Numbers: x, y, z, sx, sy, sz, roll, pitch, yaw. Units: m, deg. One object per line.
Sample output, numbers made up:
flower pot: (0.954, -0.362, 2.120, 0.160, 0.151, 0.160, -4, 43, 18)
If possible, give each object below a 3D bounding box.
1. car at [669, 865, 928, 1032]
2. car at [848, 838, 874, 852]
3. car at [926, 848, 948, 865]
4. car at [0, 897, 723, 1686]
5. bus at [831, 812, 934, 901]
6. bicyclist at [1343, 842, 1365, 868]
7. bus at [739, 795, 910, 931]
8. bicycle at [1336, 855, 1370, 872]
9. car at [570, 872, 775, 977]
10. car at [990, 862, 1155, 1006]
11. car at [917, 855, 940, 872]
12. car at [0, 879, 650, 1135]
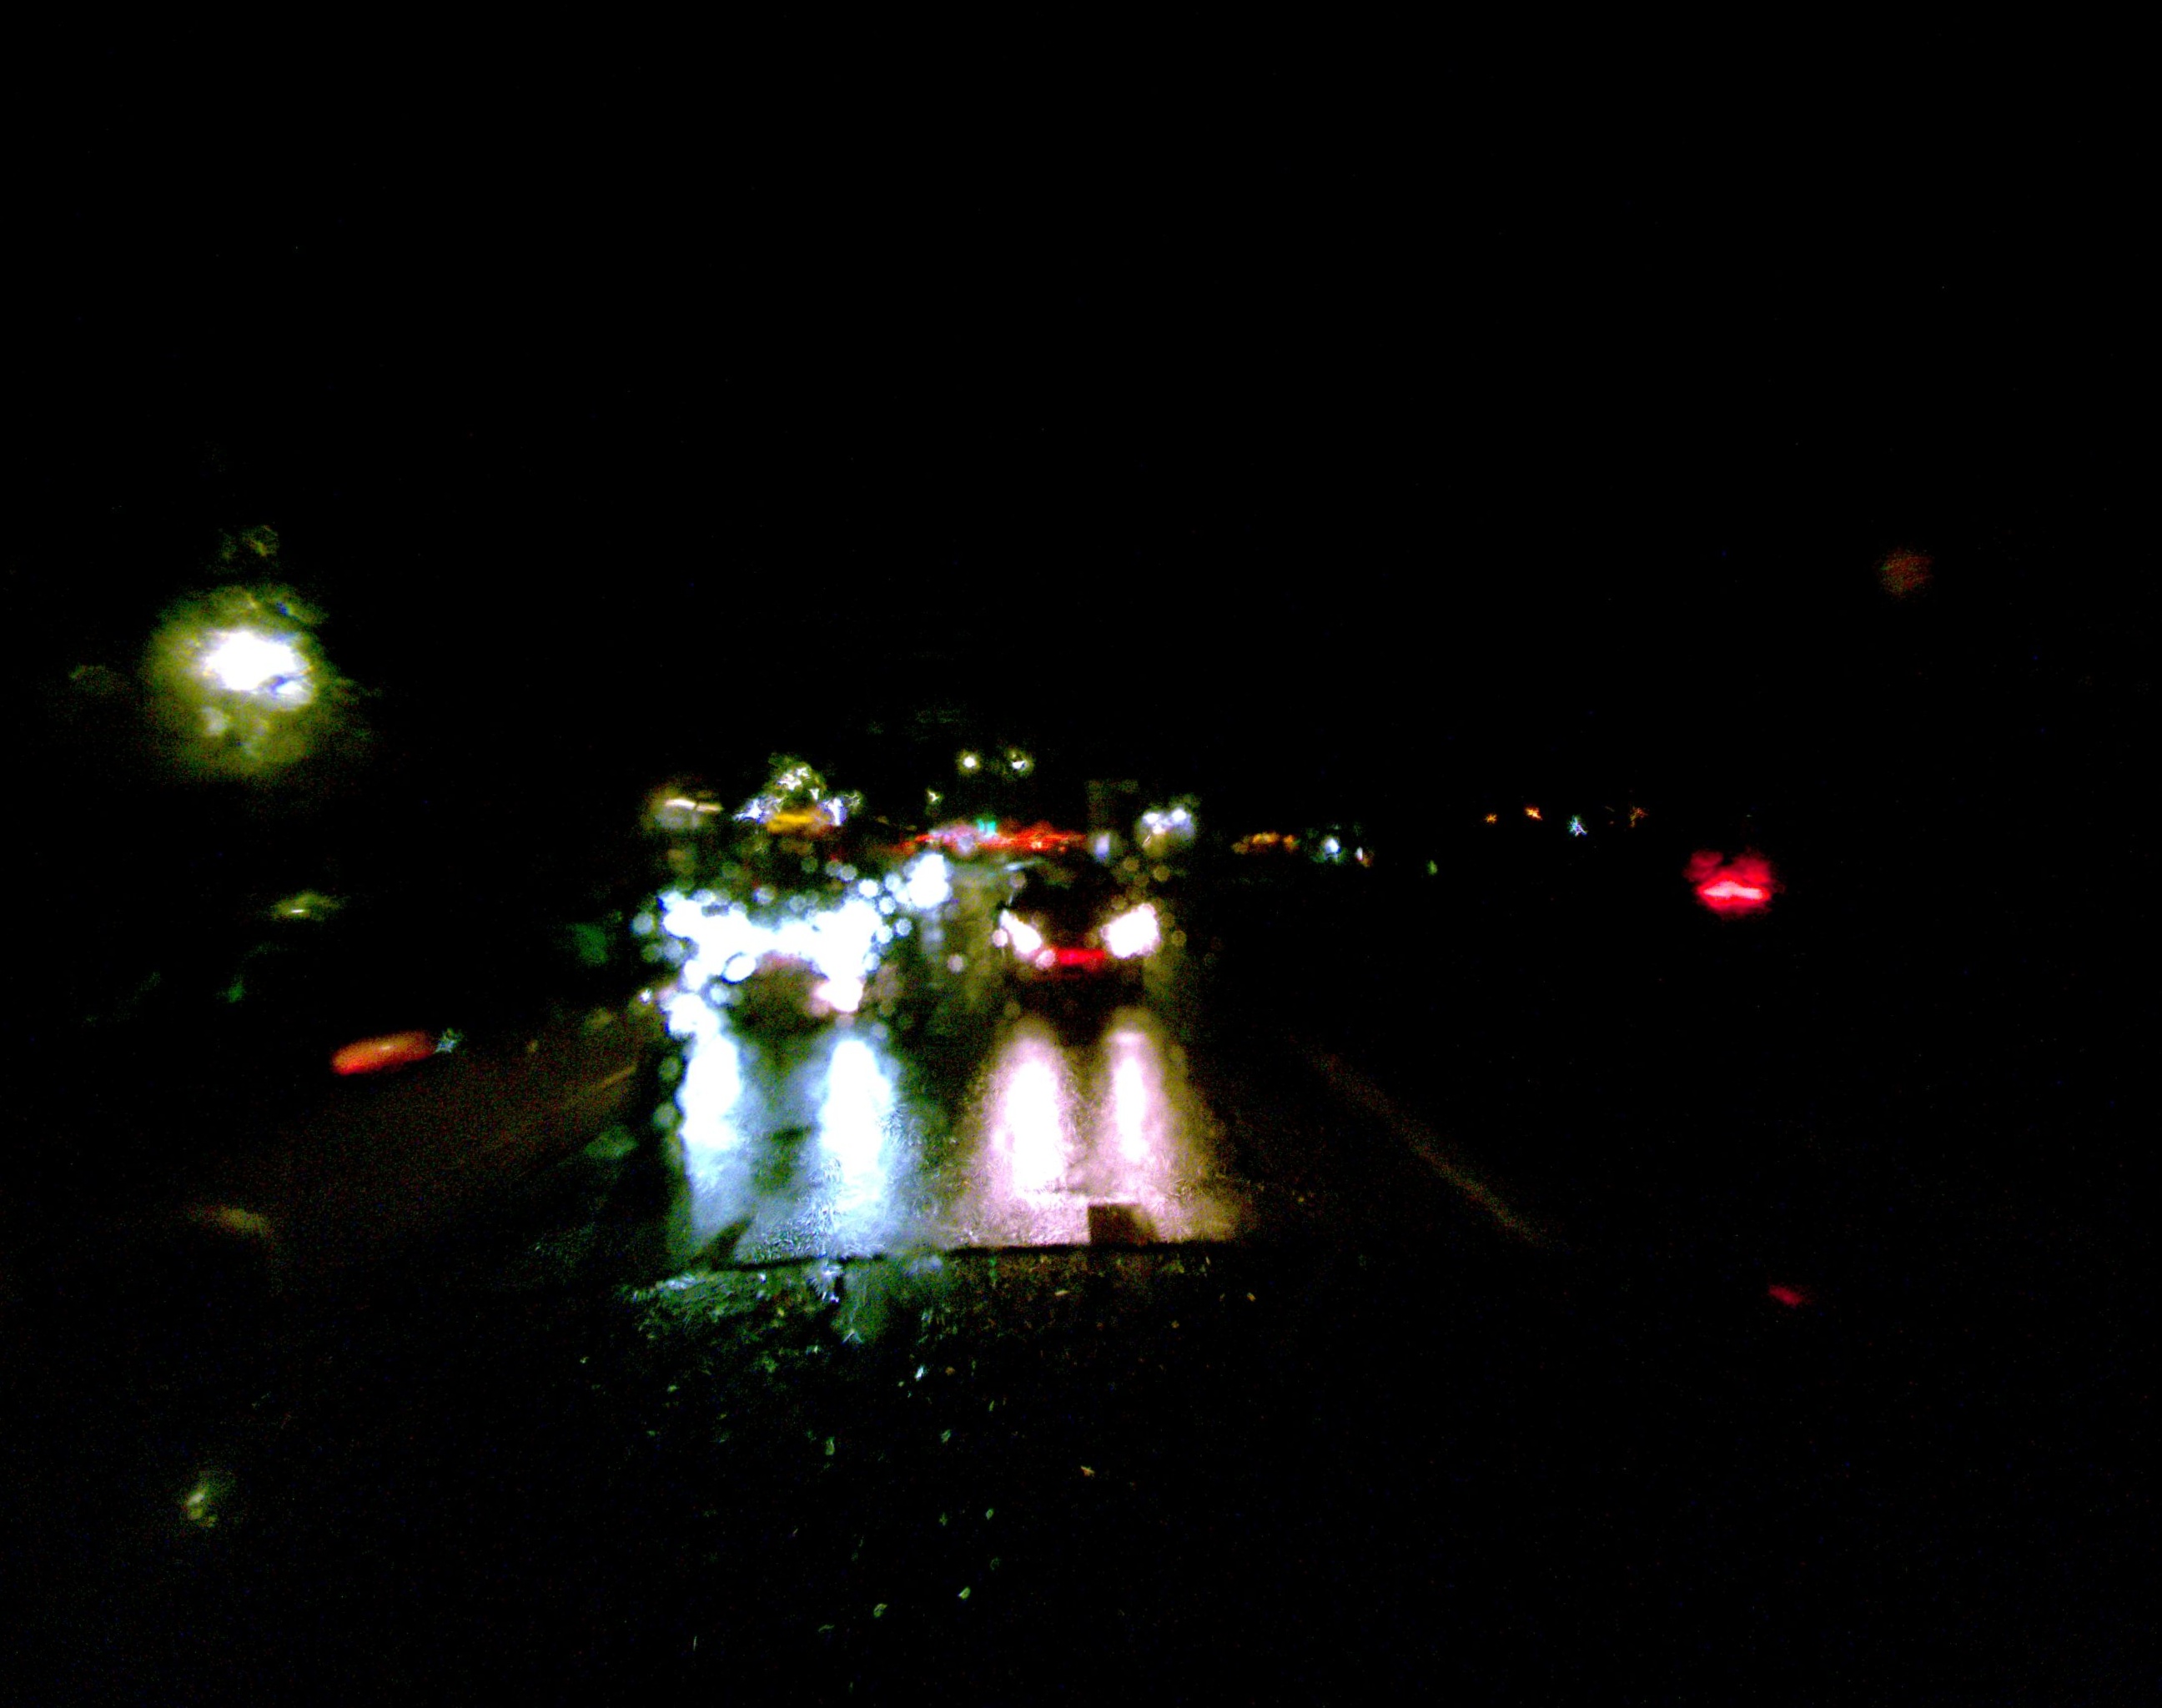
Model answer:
car: (-3.323, 1.004, 9.901, 1.724, 1.478, 4.161, -4, 1, 0)
car: (-23.744, -0.934, 81.936, 1.712, 1.382, 3.990, -2, 1, -32)
car: (-14.941, 0.258, 78.846, 1.726, 1.695, 3.967, 0, 1, -18)
car: (-3.162, 1.037, 2.780, 1.724, 1.438, 4.161, -1, 1, 0)
bus: (-8.301, 0.036, 33.039, 2.742, 3.219, 9.693, -2, 1, -6)
bicyclist: (15.353, 0.057, 42.738, 0.630, 1.427, 1.186, -1, 1, -17)
bus: (-7.338, 0.154, 23.384, 2.742, 3.258, 9.693, -2, 1, -6)
bicycle: (15.327, 0.521, 42.869, 0.629, 0.899, 2.210, -1, 1, -17)
car: (-7.146, 1.143, 13.833, 1.725, 1.478, 4.160, 0, 1, -4)
car: (-0.106, 0.872, 10.054, 1.755, 1.438, 3.973, 0, 1, 0)
car: (-13.785, 0.866, 68.863, 1.699, 1.455, 3.971, 0, 1, -6)
car: (-6.443, 1.098, 7.440, 1.724, 1.478, 4.786, -1, 1, 0)
